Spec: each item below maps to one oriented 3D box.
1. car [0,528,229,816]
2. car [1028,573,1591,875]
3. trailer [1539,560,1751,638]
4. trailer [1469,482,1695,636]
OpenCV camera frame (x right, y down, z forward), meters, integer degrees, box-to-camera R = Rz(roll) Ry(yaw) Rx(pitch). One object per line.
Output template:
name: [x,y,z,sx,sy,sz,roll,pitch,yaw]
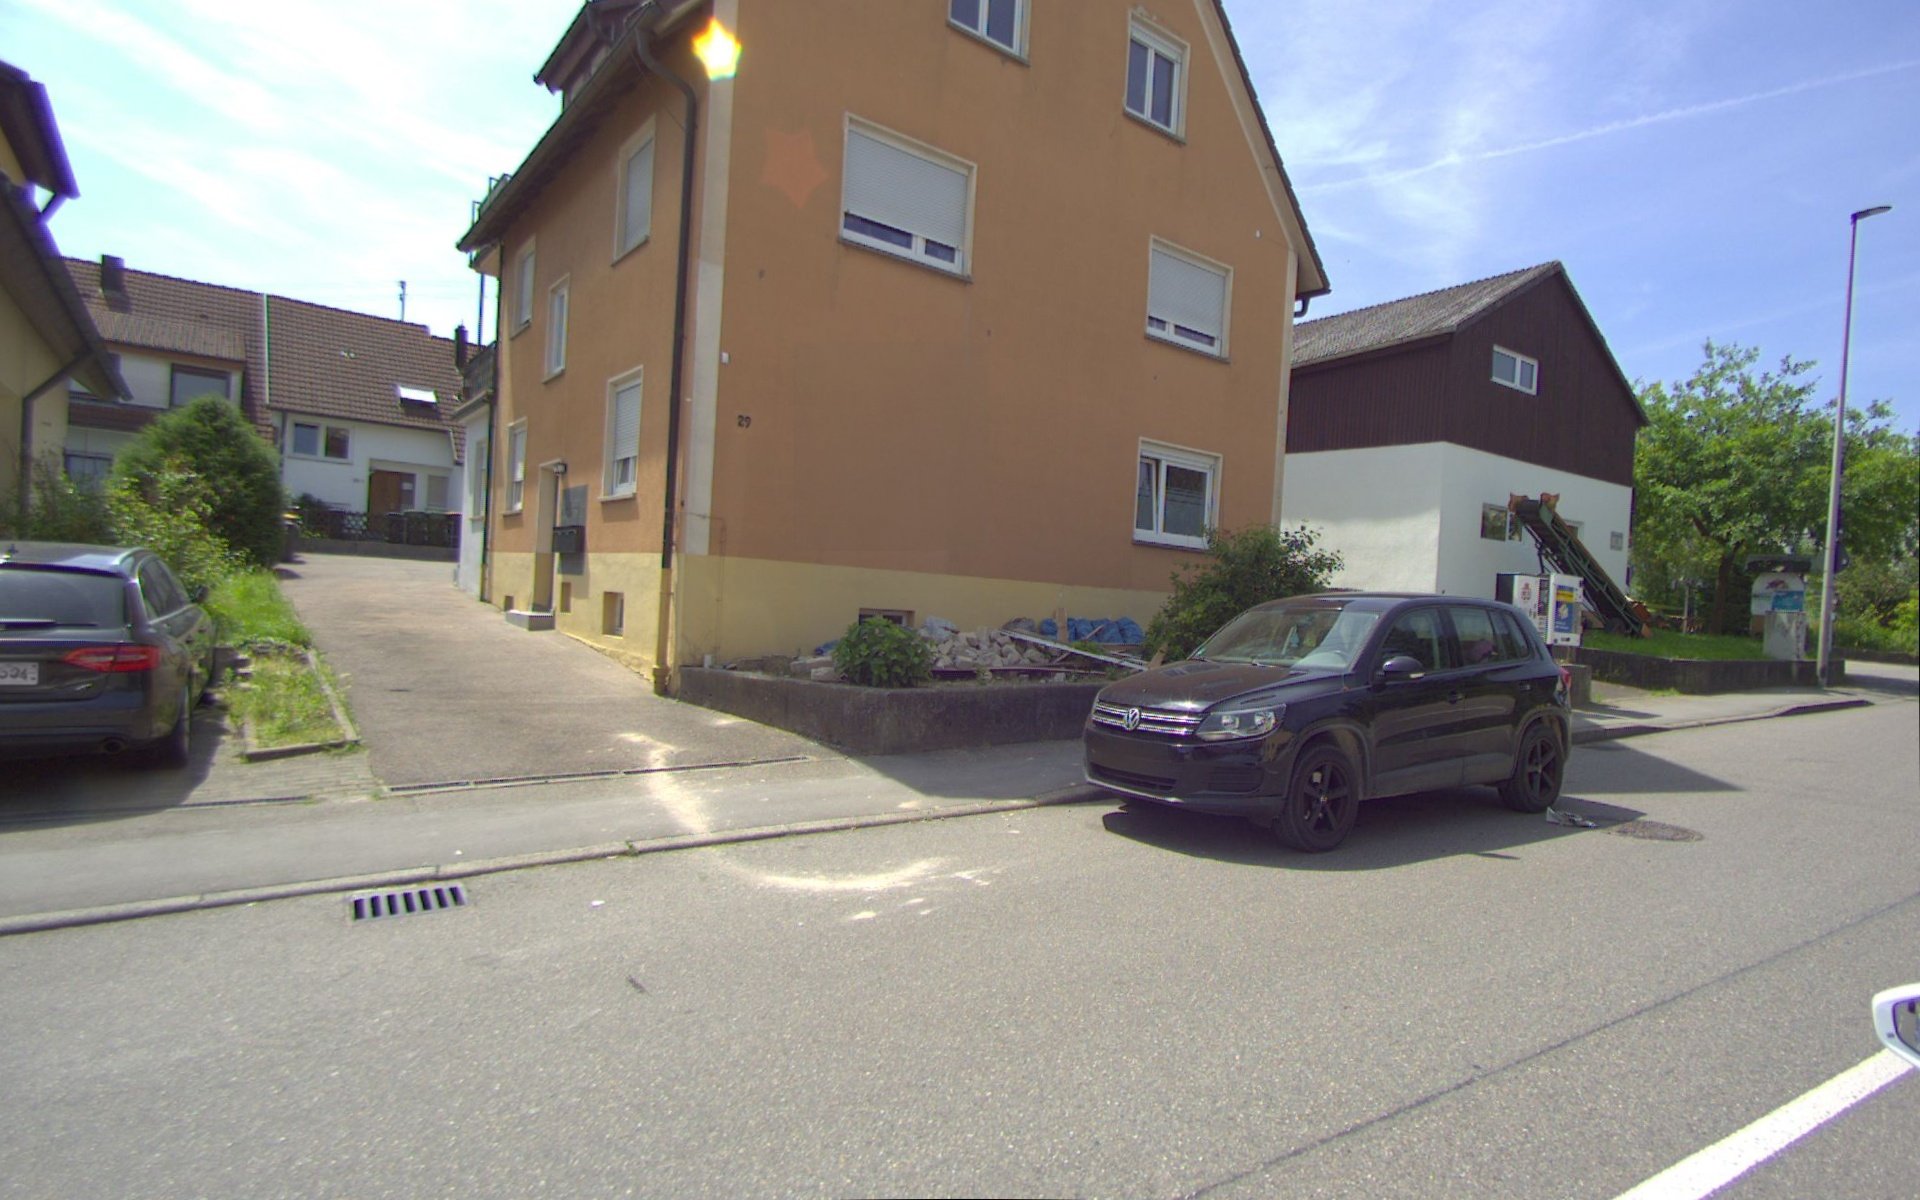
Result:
car: [-6.437,0.295,7.226,1.803,1.424,4.200,1,5,-35]
car: [2.717,0.717,7.447,4.243,1.658,1.758,1,0,-34]
trailer: [17.626,-0.084,26.100,2.713,1.714,3.703,3,2,-6]
trailer: [13.280,-0.724,21.265,6.112,2.887,1.701,1,1,-35]
